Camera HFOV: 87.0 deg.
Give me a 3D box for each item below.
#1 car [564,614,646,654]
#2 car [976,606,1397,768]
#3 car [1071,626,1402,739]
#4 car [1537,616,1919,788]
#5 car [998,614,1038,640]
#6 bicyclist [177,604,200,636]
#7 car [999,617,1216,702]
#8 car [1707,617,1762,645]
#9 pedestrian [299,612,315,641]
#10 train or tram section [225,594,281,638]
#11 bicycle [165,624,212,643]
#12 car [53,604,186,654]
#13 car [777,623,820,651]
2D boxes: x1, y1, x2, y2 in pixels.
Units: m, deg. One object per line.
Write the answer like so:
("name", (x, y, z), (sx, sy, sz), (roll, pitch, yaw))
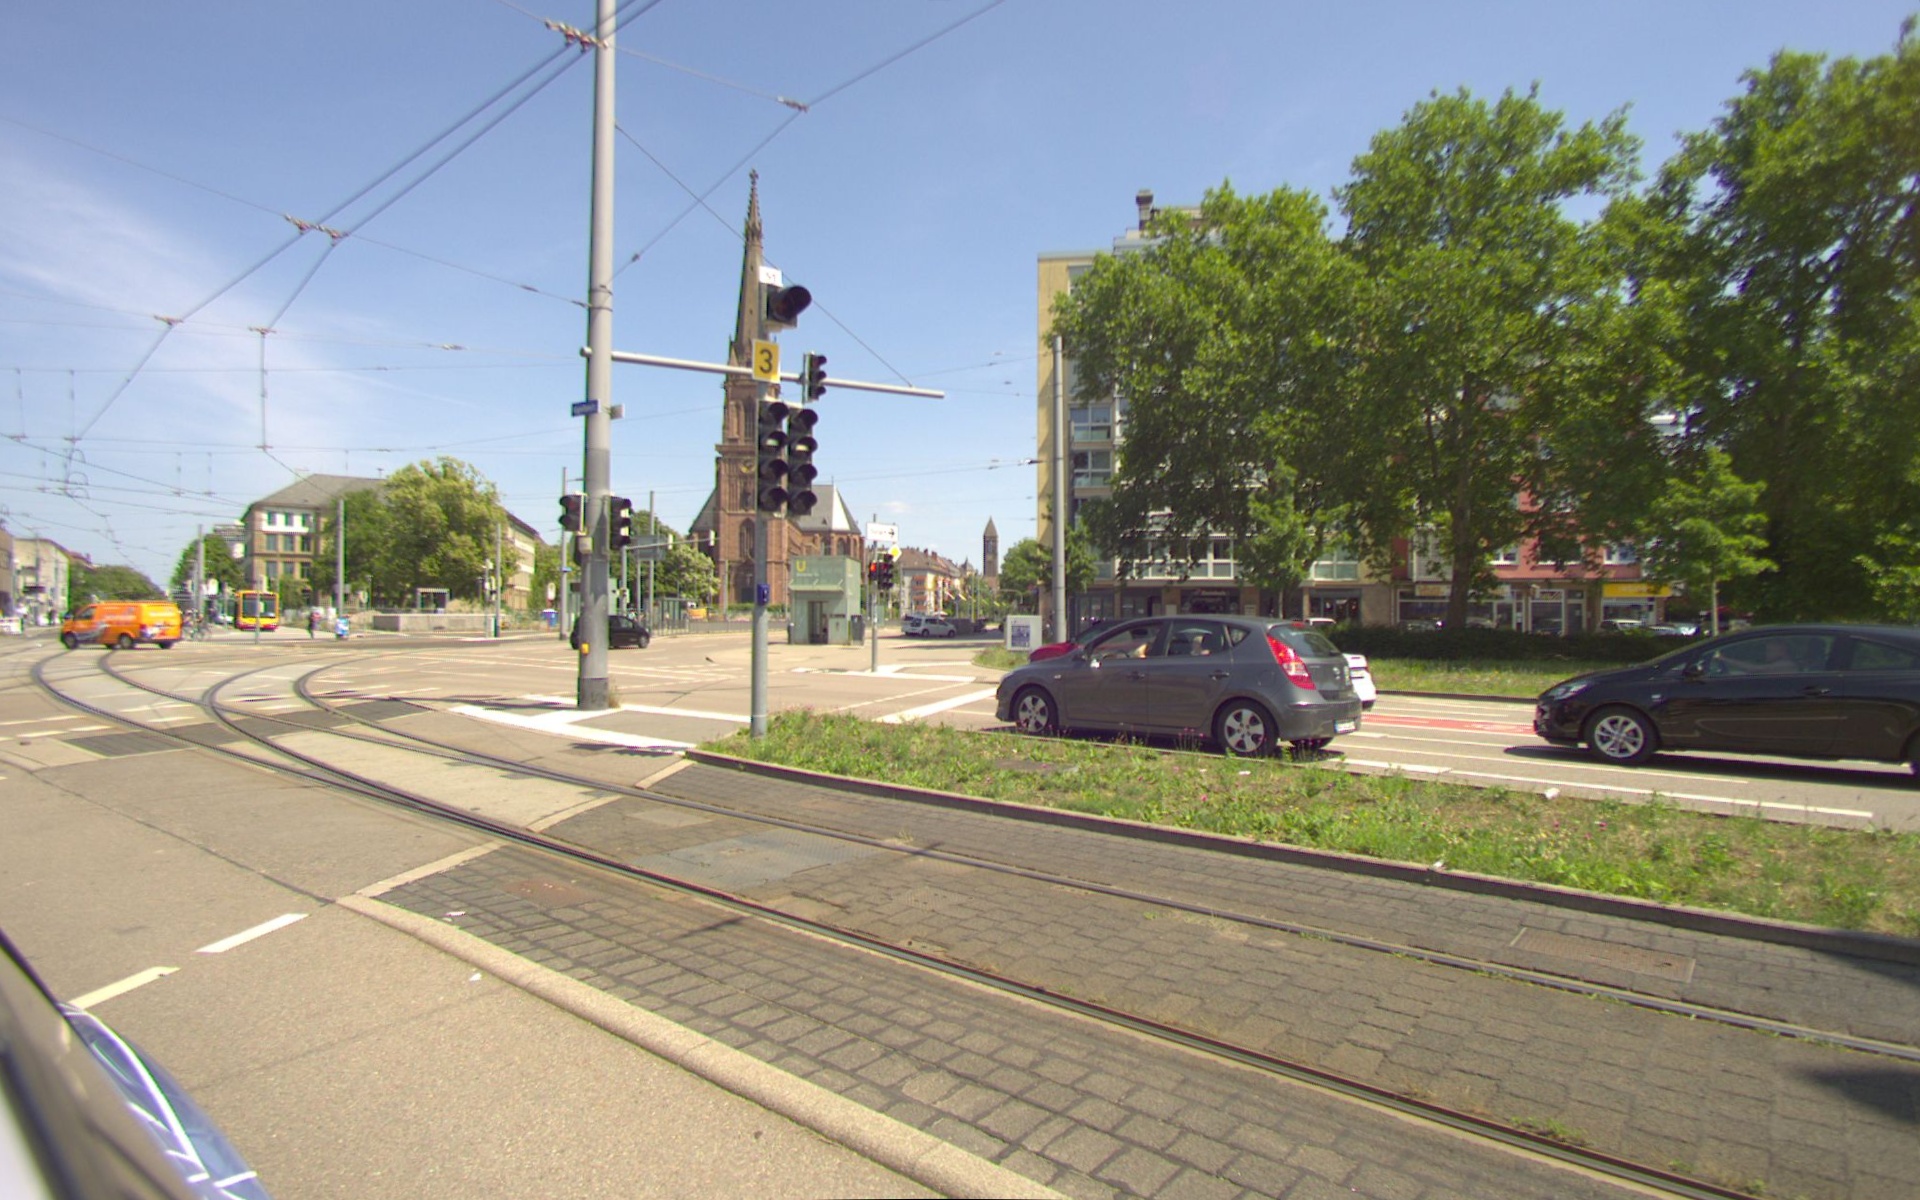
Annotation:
("car", (-14.798, 1.395, 42.323), (1.326, 1.586, 3.361), (0, -1, 23))
("car", (2.410, 0.864, 11.467), (4.328, 1.491, 1.823), (-1, -3, 42))
("car", (3.798, 1.071, 14.307), (4.200, 1.309, 1.689), (0, -3, 40))
("car", (8.065, 0.913, 9.975), (3.901, 1.473, 1.654), (-1, -2, 40))
("car", (2.778, 1.287, 48.585), (1.957, 1.163, 0.504), (-2, 0, -32))
("bicyclist", (-40.402, 1.043, 52.993), (0.528, 1.701, 0.803), (-1, -1, 36))
("car", (3.018, 1.190, 21.279), (4.396, 1.610, 1.518), (-1, -3, 40))
("car", (43.910, 1.734, 57.468), (1.574, 1.497, 3.183), (0, -1, 20))
("pedestrian", (-38.667, 1.572, 59.958), (0.447, 1.684, 0.651), (0, -1, 25))
("train or tram section", (-55.964, 1.275, 80.008), (2.799, 3.238, 9.125), (1, -1, -40))
("bicycle", (-40.350, 1.731, 52.930), (0.527, 0.986, 1.883), (-1, -1, 36))
("car", (-35.568, 1.216, 42.876), (4.549, 2.029, 1.992), (0, -1, 13))
("car", (-9.445, 2.143, 59.440), (1.755, 1.541, 3.998), (0, -1, 1))
